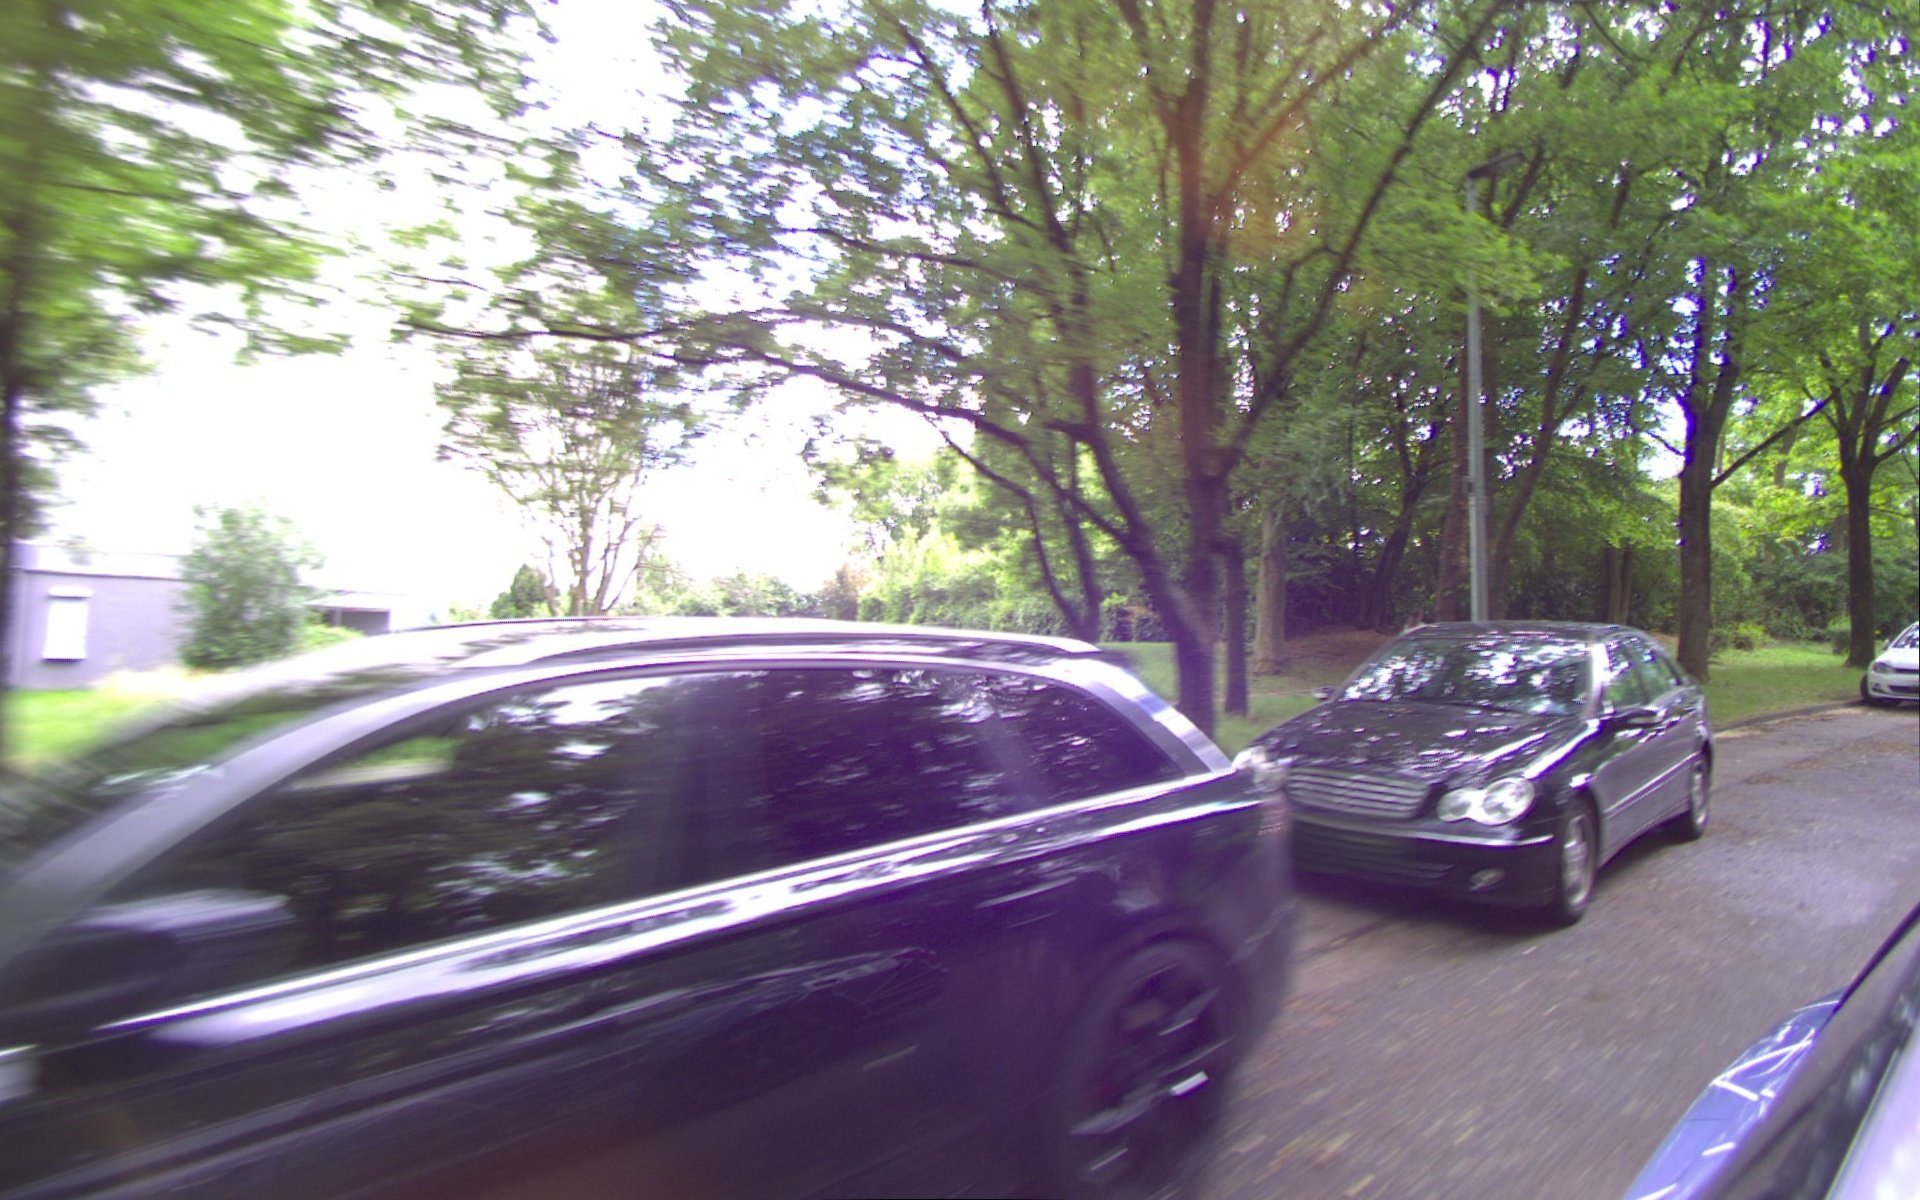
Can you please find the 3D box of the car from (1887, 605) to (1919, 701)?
[{"bbox_3d":[16.997,0.851,16.735,4.029,1.502,1.693,1,-2,-36],"label":"car"}]

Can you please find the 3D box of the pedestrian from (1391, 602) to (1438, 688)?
[{"bbox_3d":[9.032,0.883,20.095,0.581,1.673,0.858,-2,-2,44],"label":"pedestrian"}]

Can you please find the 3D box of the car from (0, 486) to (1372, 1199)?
[{"bbox_3d":[-1.250,0.714,2.134,4.648,1.632,1.917,1,-2,-39],"label":"car"}]

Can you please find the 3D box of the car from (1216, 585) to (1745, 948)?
[{"bbox_3d":[3.418,0.725,6.208,4.244,1.484,1.590,1,-2,-44],"label":"car"}]
